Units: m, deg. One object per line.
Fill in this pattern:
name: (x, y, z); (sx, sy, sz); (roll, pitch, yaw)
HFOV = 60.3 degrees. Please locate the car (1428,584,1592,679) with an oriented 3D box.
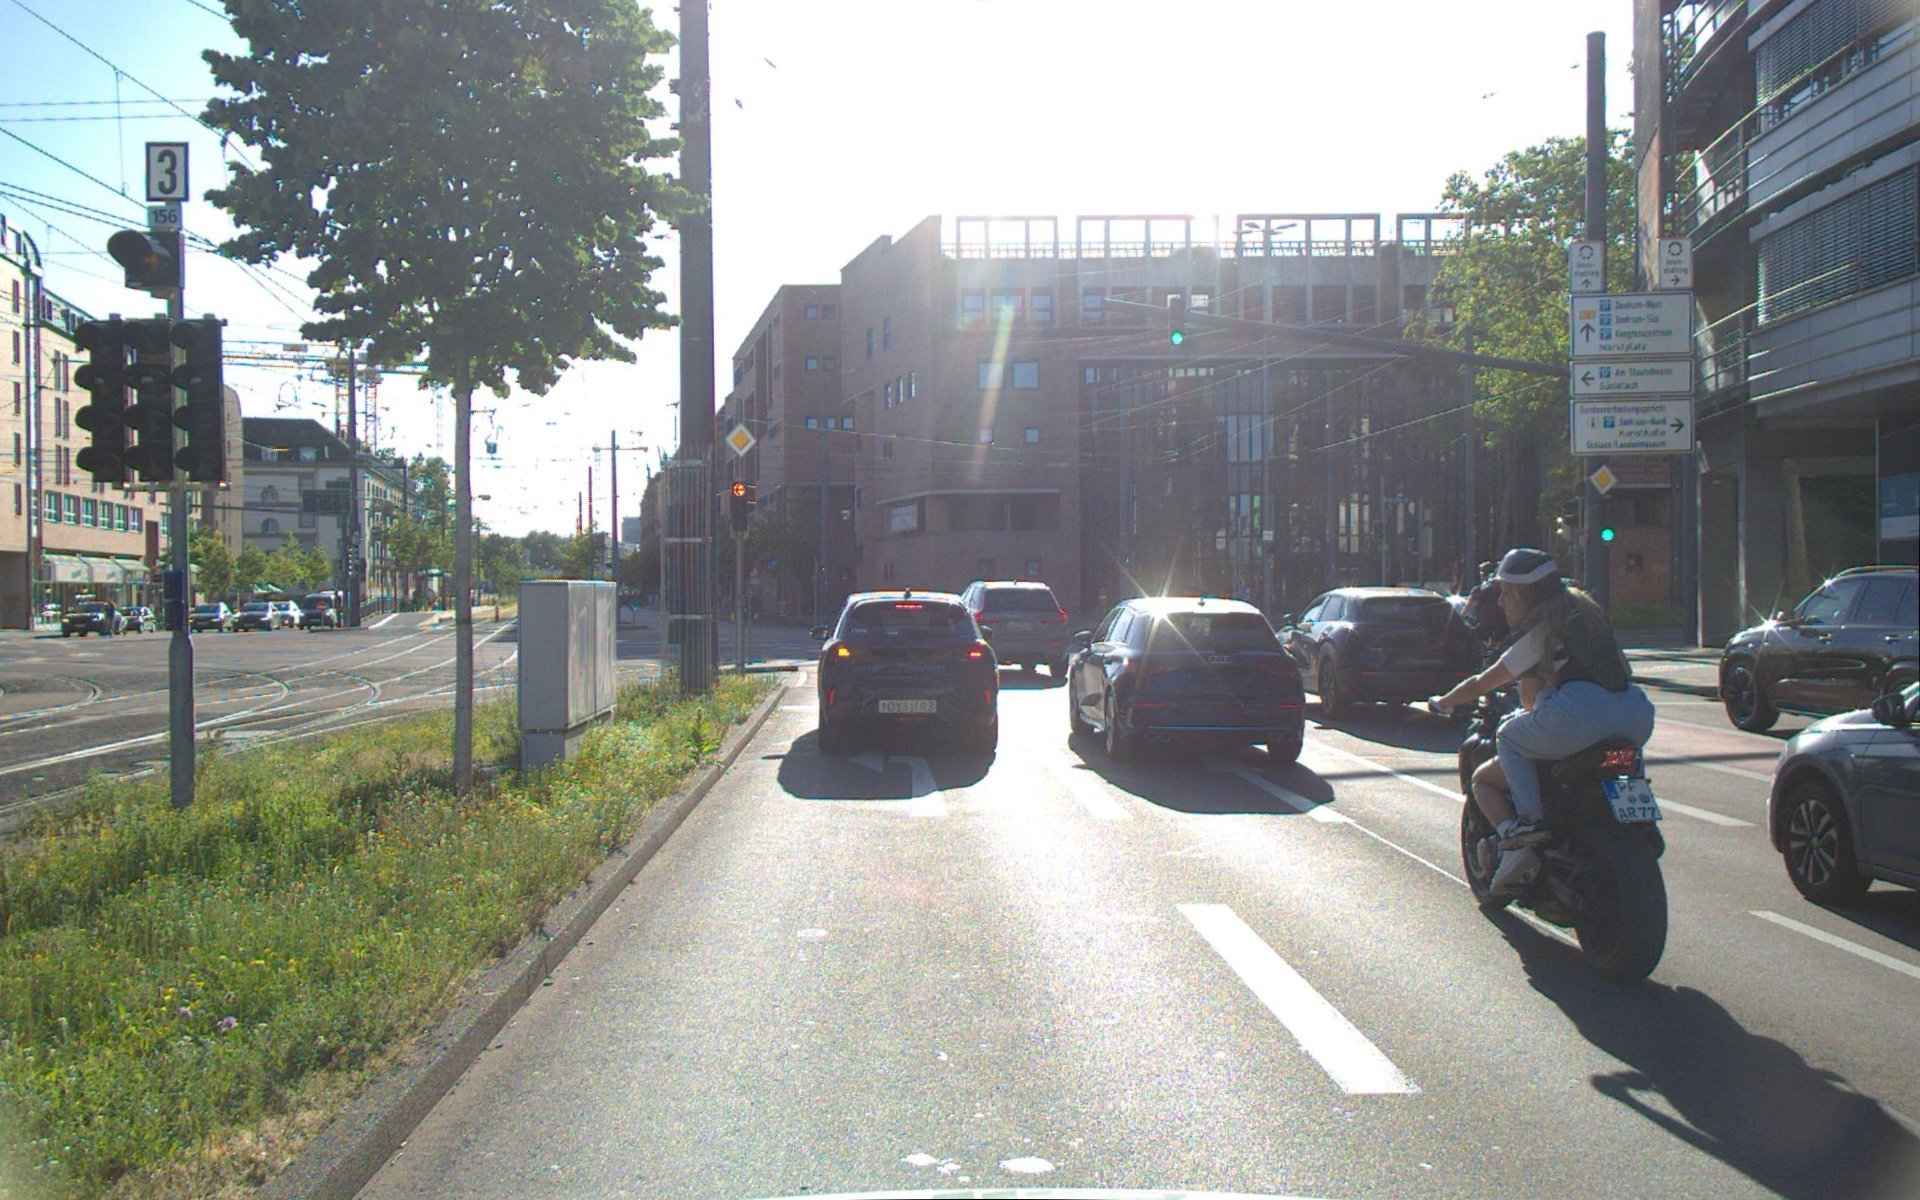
car: (9.516, 0.492, 28.941); (1.951, 1.444, 4.003); (1, 1, 7)

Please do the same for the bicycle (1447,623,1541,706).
bicycle: (7.250, 0.845, 22.565); (0.482, 1.015, 2.327); (-1, 0, -1)

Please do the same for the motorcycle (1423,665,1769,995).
motorcycle: (2.662, 0.902, 7.188); (0.759, 1.135, 1.969); (-1, 0, 1)

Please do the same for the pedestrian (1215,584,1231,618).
pedestrian: (12.674, 0.046, 79.851); (0.722, 1.645, 0.561); (-1, 0, 6)

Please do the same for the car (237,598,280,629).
car: (-35.836, 0.683, 84.530); (1.719, 1.531, 3.859); (-1, 0, -19)

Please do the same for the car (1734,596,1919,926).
car: (5.252, 0.744, 7.131); (1.771, 1.482, 3.997); (1, 0, -4)

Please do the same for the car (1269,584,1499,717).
car: (5.161, 0.550, 20.666); (1.771, 1.482, 3.999); (1, 0, -1)

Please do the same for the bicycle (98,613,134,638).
bicycle: (-39.551, 1.182, 77.514); (0.638, 1.104, 2.919); (-1, 0, -10)

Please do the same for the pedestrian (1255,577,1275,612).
pedestrian: (14.523, -0.281, 78.842); (0.881, 1.645, 0.561); (-1, 0, 6)

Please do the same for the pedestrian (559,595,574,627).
pedestrian: (-21.249, 0.587, 89.240); (0.730, 1.669, 0.764); (-1, 0, -16)

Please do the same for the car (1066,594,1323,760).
car: (2.115, 0.643, 15.985); (1.703, 1.373, 3.997); (0, 0, -3)

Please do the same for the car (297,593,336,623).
car: (-33.639, 0.397, 86.555); (1.719, 1.531, 3.859); (-1, 0, -19)

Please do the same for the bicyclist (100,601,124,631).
bicyclist: (-39.522, 0.739, 77.113); (0.743, 1.399, 0.949); (-1, 0, -10)

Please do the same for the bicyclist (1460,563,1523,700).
bicyclist: (7.248, 0.421, 22.573); (0.565, 1.822, 0.864); (-1, 0, 0)

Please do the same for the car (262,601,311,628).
car: (-38.088, 0.815, 93.615); (1.543, 1.474, 3.994); (-1, 0, -7)

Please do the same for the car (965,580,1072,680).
car: (0.997, 0.498, 29.950); (1.702, 1.680, 3.999); (0, 0, -1)

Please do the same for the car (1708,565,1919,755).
car: (9.786, 0.540, 16.863); (1.956, 1.780, 4.321); (-1, 0, -8)

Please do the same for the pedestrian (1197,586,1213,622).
pedestrian: (9.934, 0.146, 66.990); (0.519, 1.455, 0.598); (-1, 0, -3)

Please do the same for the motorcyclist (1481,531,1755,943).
motorcyclist: (2.662, 0.517, 6.799); (0.729, 1.557, 1.021); (-1, 0, 1)

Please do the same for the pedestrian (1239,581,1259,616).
pedestrian: (13.563, -0.065, 77.708); (0.881, 1.645, 0.561); (-1, 0, 6)

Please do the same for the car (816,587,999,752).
car: (-0.503, 0.603, 16.696); (1.616, 1.458, 3.999); (0, 0, -1)

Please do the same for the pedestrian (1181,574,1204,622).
pedestrian: (8.786, -0.088, 62.505); (0.692, 1.789, 0.560); (-1, 0, 23)

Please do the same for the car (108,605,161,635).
car: (-45.513, 1.077, 91.233); (1.854, 1.536, 3.984); (-1, 0, -15)

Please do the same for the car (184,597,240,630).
car: (-39.280, 0.685, 86.963); (1.961, 1.624, 4.719); (-1, 1, -15)

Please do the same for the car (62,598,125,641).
car: (-43.930, 0.968, 83.945); (1.961, 2.049, 3.984); (-1, 0, -15)
